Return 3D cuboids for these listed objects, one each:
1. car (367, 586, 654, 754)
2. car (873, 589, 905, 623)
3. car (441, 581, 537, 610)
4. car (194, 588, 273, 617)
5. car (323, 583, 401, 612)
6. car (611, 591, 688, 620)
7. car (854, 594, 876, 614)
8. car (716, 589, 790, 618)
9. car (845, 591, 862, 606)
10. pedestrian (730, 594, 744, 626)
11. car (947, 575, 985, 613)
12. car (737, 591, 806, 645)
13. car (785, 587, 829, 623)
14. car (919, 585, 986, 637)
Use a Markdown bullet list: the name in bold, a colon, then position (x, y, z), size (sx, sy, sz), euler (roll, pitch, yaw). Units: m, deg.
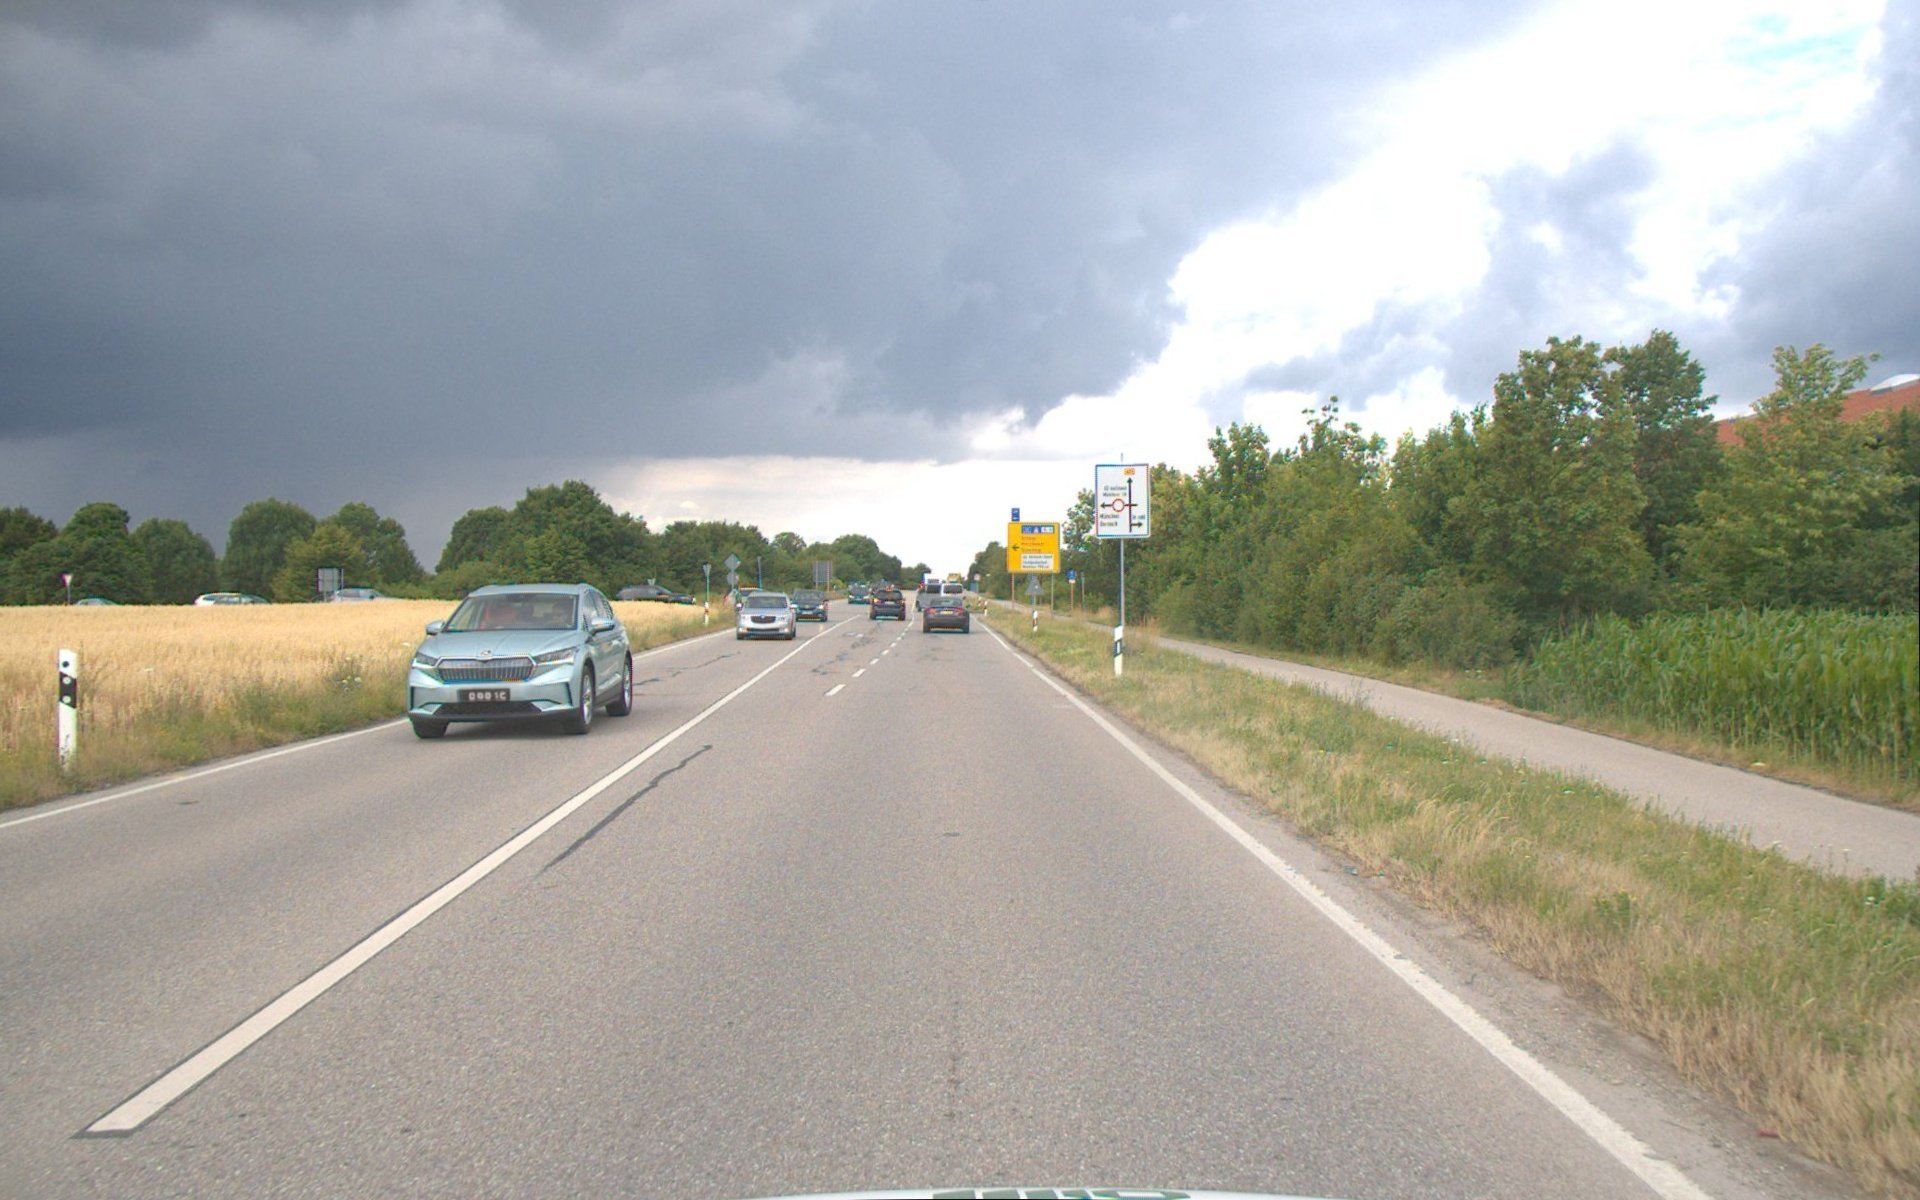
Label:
- **car**: position (-4.939, 0.679, 18.936), size (2.023, 1.608, 4.764), euler (-2, 1, -1)
- **car**: position (-3.712, 0.275, 86.485), size (1.539, 1.731, 3.999), euler (0, 0, -1)
- **car**: position (-28.381, -0.261, 99.745), size (5.197, 1.678, 1.867), euler (0, 0, 3)
- **car**: position (-43.941, 0.134, 100.080), size (3.986, 1.678, 1.867), euler (0, 0, 3)
- **car**: position (-36.093, -0.141, 99.886), size (3.986, 1.678, 1.867), euler (0, 0, 3)
- **car**: position (-18.461, 0.301, 98.429), size (4.326, 1.678, 1.501), euler (0, 0, -5)
- **car**: position (-7.903, 0.320, 137.693), size (1.612, 1.618, 3.999), euler (0, 0, -1)
- **car**: position (-12.380, 0.200, 99.099), size (4.327, 1.678, 1.500), euler (0, 0, -6)
- **car**: position (-11.674, -0.142, 180.847), size (1.612, 1.618, 3.999), euler (0, 0, -1)
- **pedestrian**: position (-11.250, 0.496, 83.433), size (0.360, 1.603, 0.701), euler (0, 0, 34)
- **car**: position (0.429, -0.407, 112.712), size (1.956, 2.495, 4.856), euler (0, 0, 8)
- **car**: position (-6.036, 0.546, 53.297), size (1.731, 1.629, 4.929), euler (0, 0, -1)
- **car**: position (-7.260, 0.240, 78.711), size (1.816, 1.658, 3.999), euler (0, 0, -1)
- **car**: position (-0.330, 0.402, 64.859), size (2.325, 1.913, 4.475), euler (-2, 0, -3)
